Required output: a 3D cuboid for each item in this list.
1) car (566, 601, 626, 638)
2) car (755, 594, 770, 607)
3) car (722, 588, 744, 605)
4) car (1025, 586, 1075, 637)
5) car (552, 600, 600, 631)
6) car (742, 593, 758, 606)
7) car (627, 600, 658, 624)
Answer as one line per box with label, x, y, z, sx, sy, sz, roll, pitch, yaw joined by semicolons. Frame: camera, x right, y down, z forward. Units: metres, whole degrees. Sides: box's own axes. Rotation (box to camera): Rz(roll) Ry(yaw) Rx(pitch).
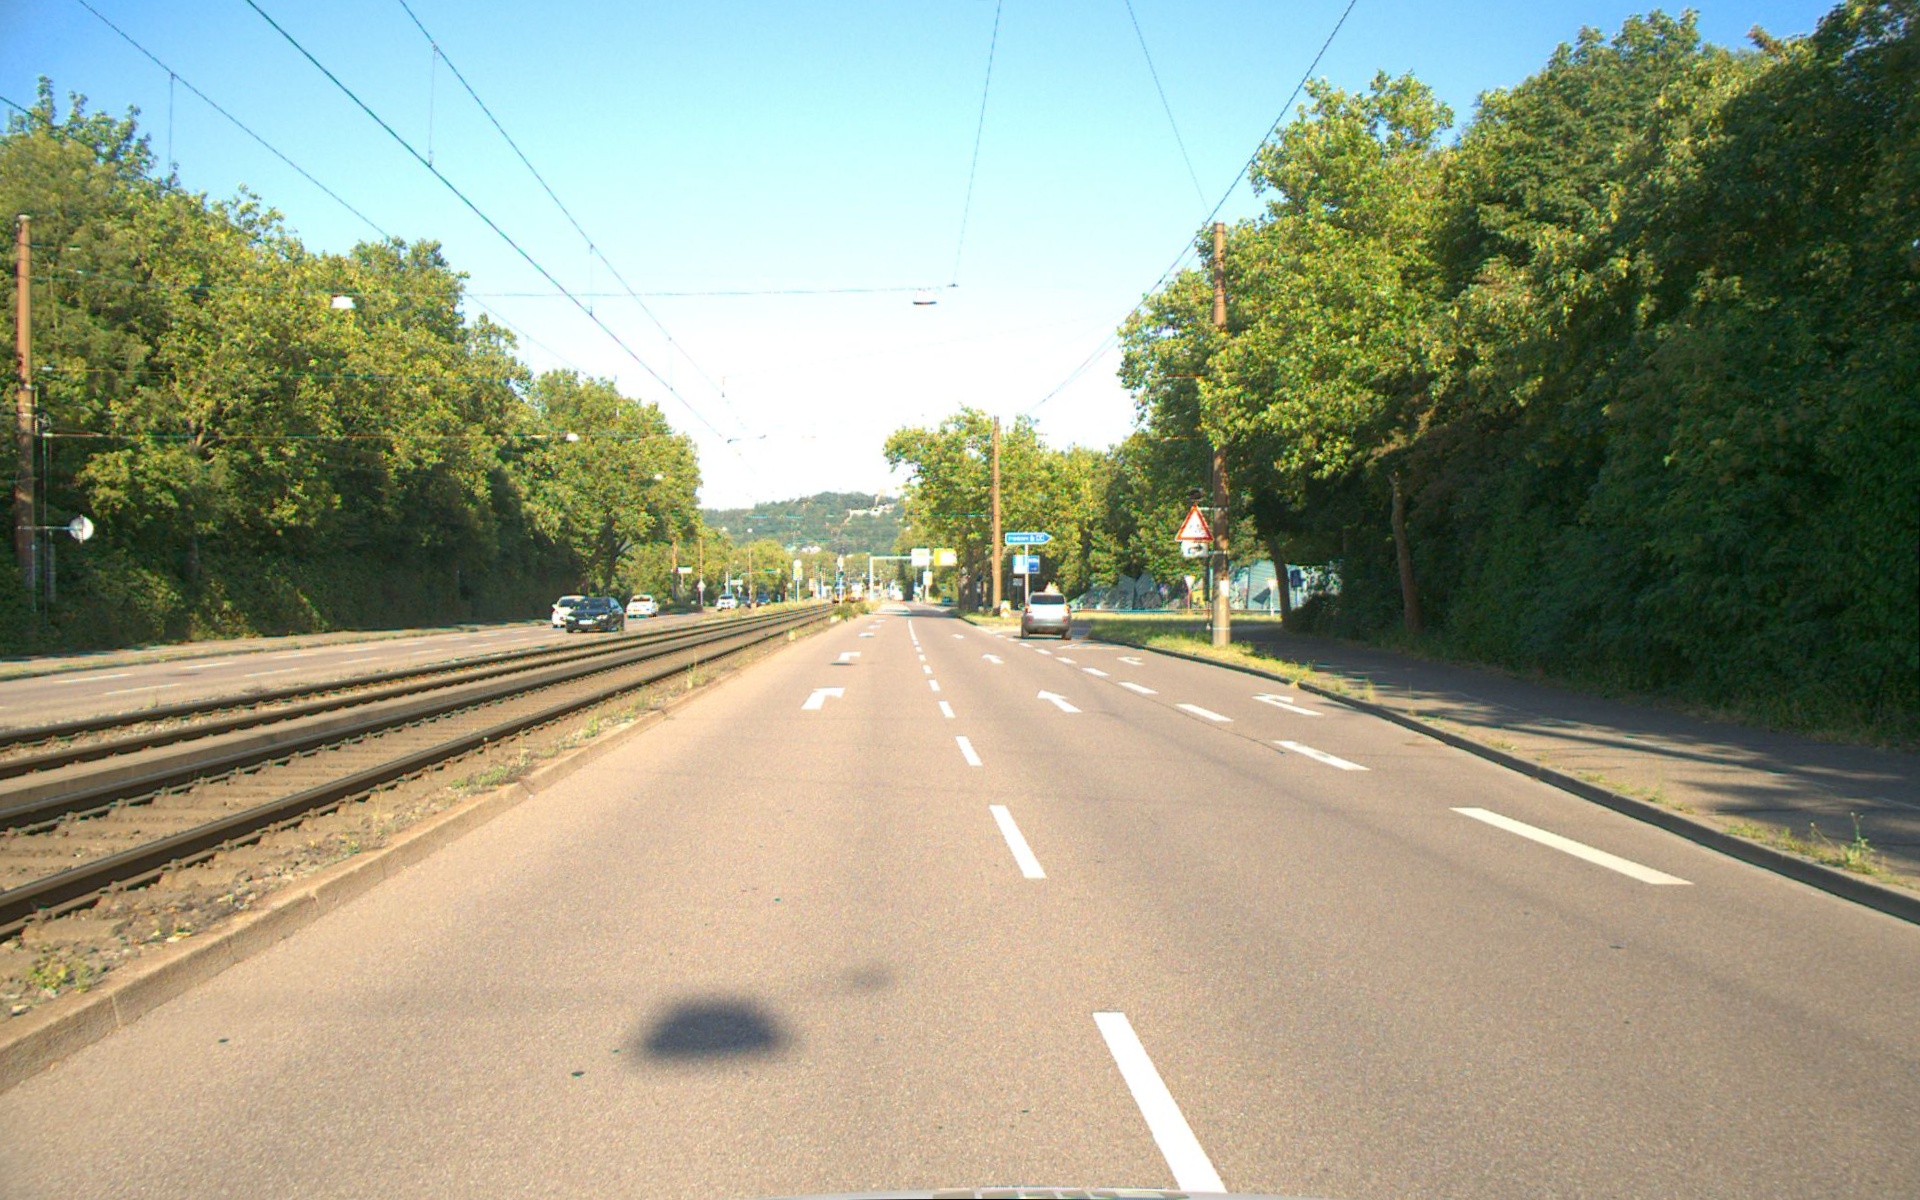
car;-15.226;0.794;69.345;1.624;1.458;4.500;-2;0;-2
car;-28.131;0.110;235.737;1.861;1.724;4.936;-2;0;-4
car;-23.924;-0.332;174.419;1.924;1.737;4.939;-2;0;-5
car;3.324;0.438;61.581;1.771;1.804;3.863;1;0;2
car;-20.180;0.807;87.090;1.657;1.583;4.189;-2;0;-2
car;-25.916;-0.064;204.641;1.677;1.494;4.344;-2;0;-4
car;-24.735;0.951;129.016;1.810;1.764;4.926;-2;0;-5
